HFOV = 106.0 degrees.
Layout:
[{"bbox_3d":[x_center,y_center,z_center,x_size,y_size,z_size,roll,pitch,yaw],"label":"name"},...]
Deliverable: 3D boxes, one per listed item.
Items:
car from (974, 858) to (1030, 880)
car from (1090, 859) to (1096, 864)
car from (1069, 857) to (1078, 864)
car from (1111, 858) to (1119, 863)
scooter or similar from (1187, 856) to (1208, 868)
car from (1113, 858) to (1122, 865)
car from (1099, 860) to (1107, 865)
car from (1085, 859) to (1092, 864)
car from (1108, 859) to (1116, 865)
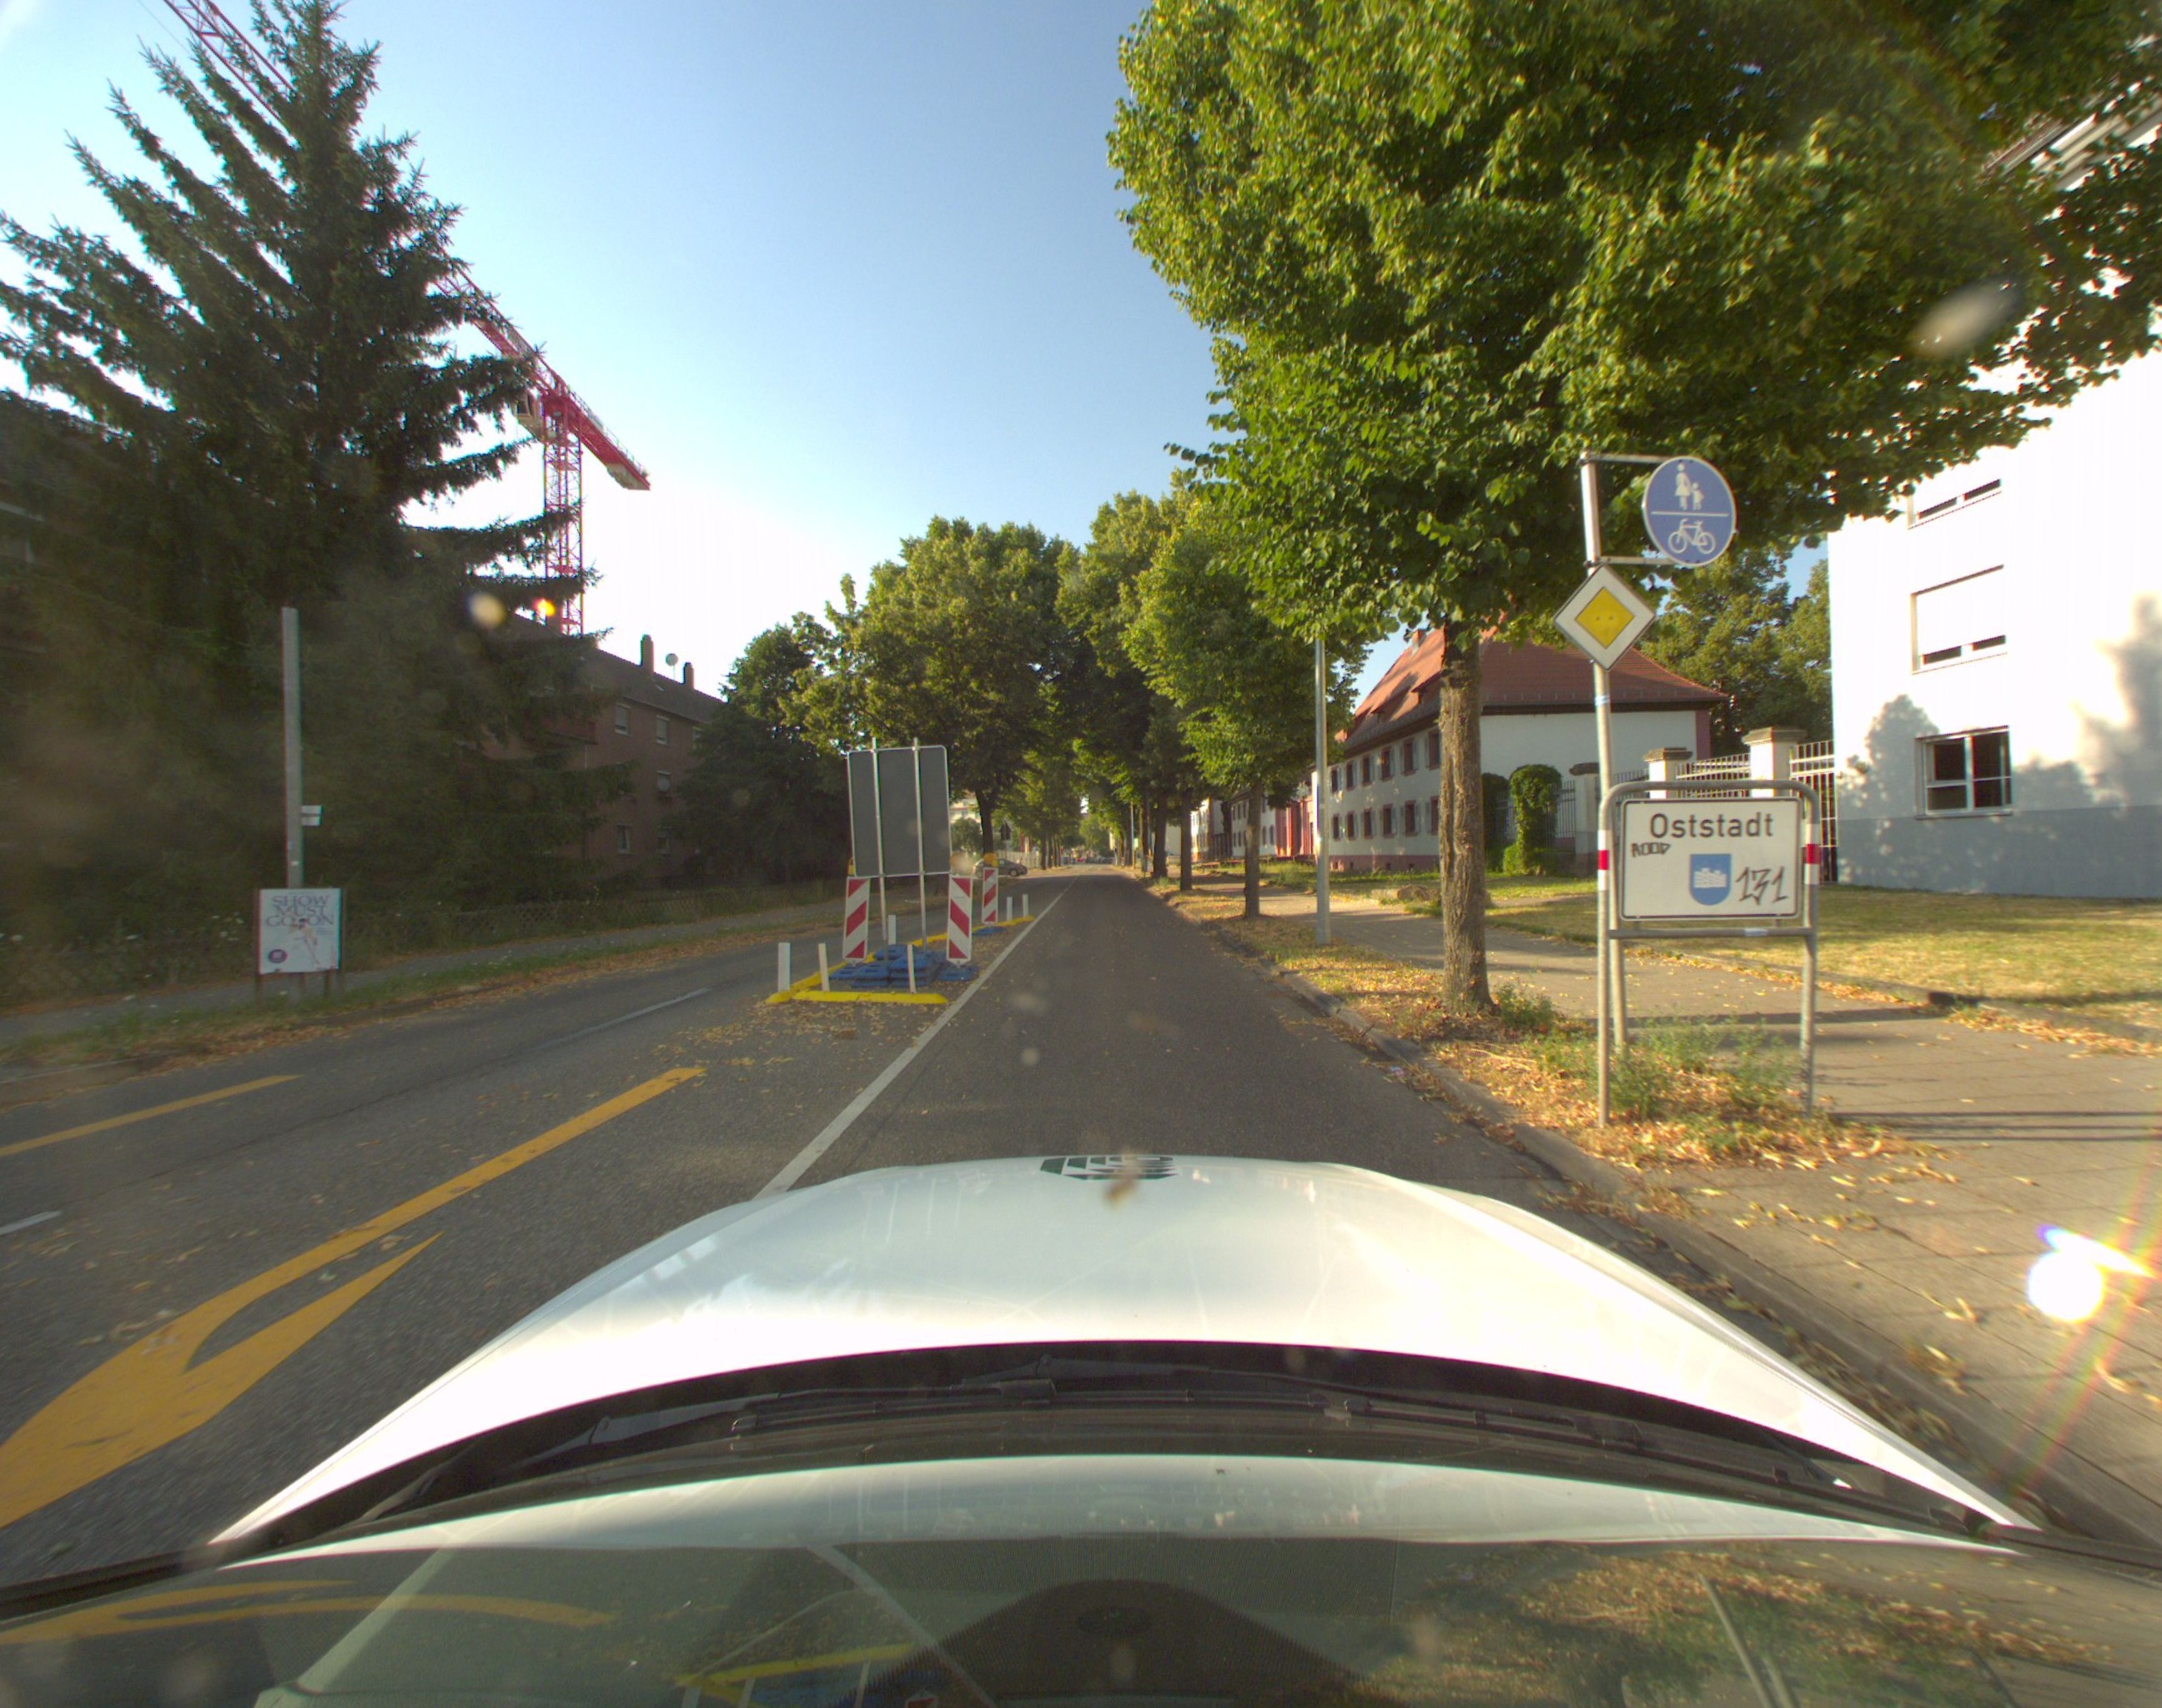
[{"bbox_3d":[-5.850,1.109,60.473,3.828,1.473,1.652,-2,0,3],"label":"car"},{"bbox_3d":[3.803,2.297,257.345,1.837,1.386,3.996,-2,-1,-2],"label":"car"},{"bbox_3d":[-1.781,1.678,200.911,1.990,1.687,3.993,-2,-1,-4],"label":"car"},{"bbox_3d":[7.883,1.469,188.621,1.833,1.261,4.003,-1,0,3],"label":"car"},{"bbox_3d":[7.755,0.535,54.271,1.221,0.548,1.064,-10,0,0],"label":"scooter or similar"},{"bbox_3d":[7.877,1.645,177.367,1.835,1.261,4.000,-2,-1,1],"label":"car"},{"bbox_3d":[5.981,2.344,224.909,1.837,1.386,3.996,-2,-1,-2],"label":"car"},{"bbox_3d":[2.196,2.201,239.381,1.710,1.486,3.996,-3,-1,-2],"label":"car"},{"bbox_3d":[7.364,1.886,195.750,1.835,1.261,4.000,-2,-1,1],"label":"car"}]
